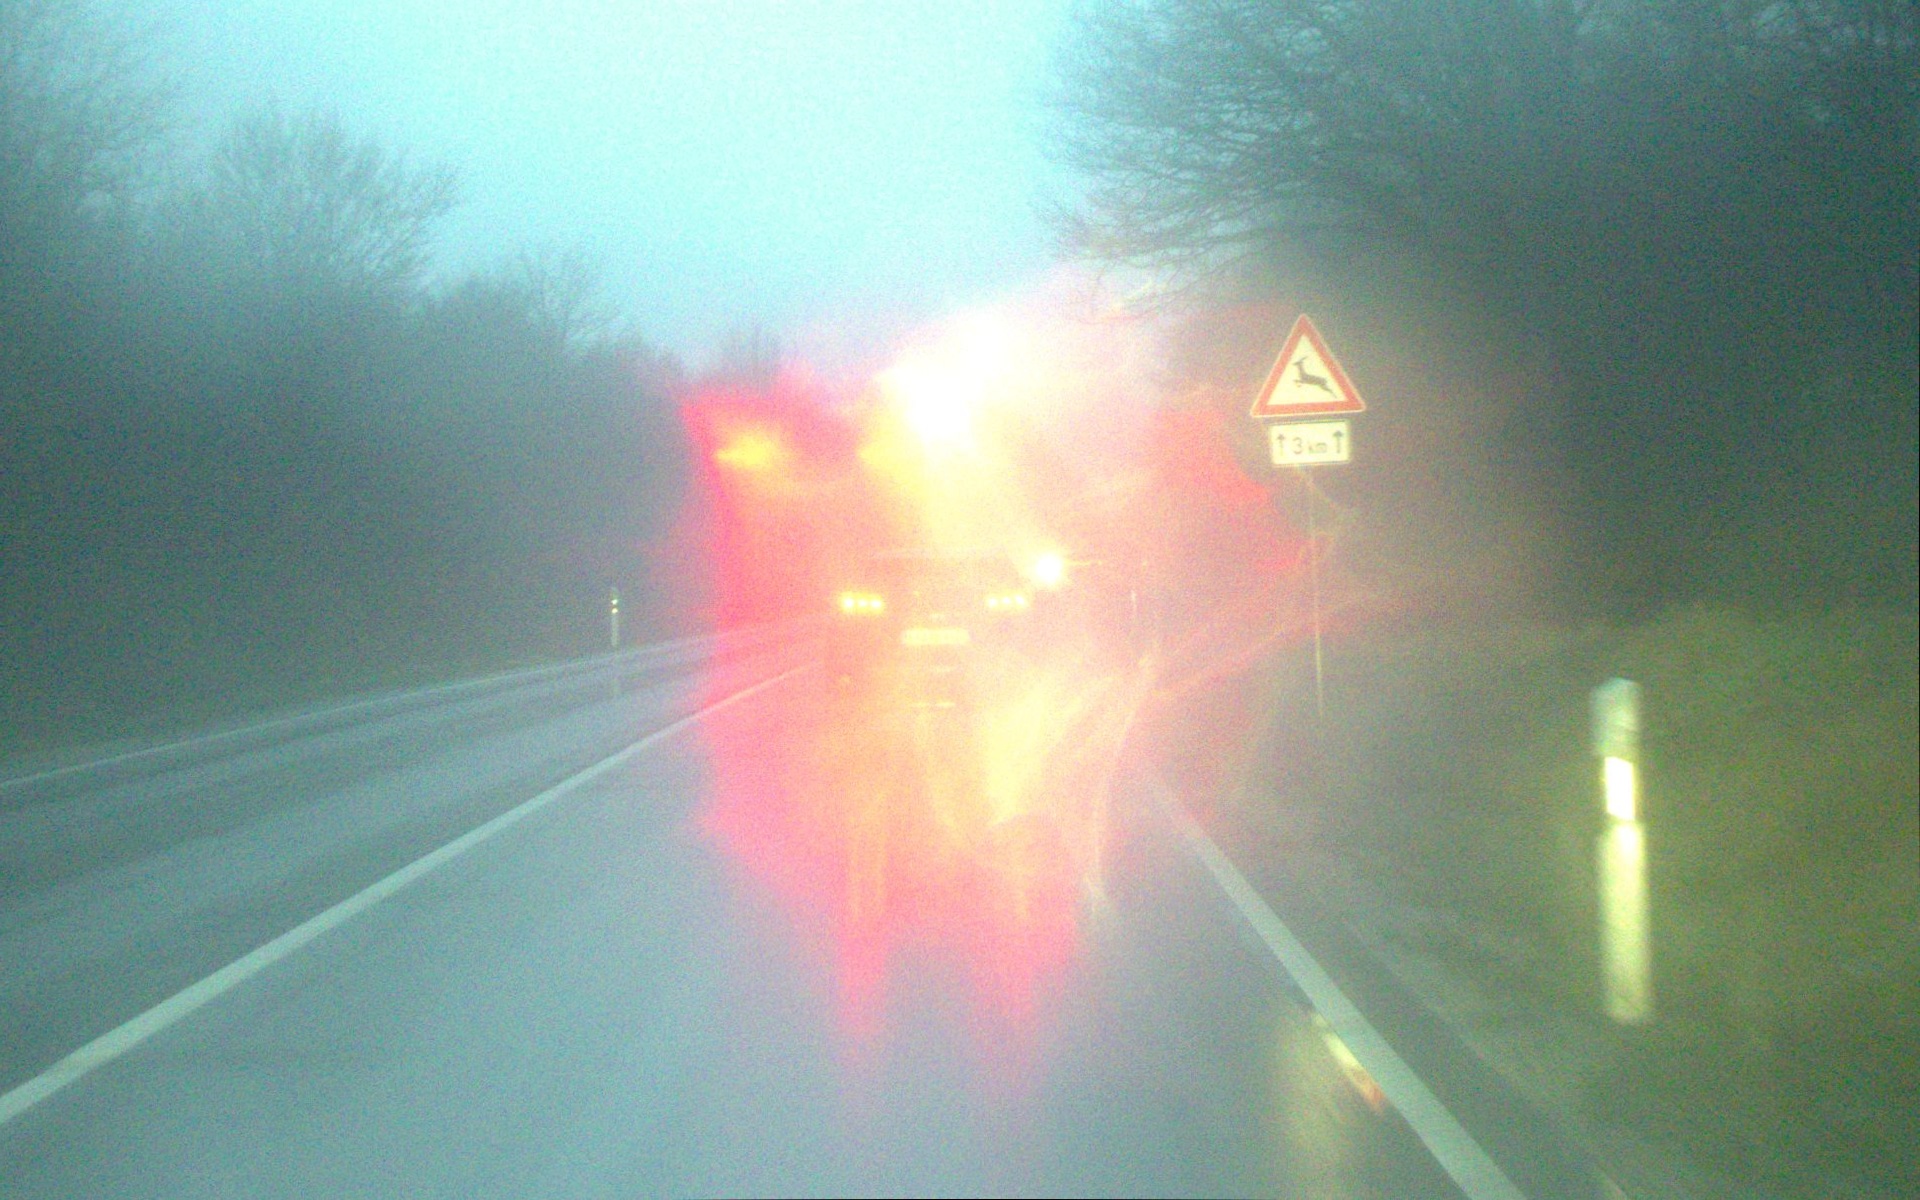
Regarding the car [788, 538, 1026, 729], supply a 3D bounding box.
[{"bbox_3d":[-0.368,0.222,28.369,1.679,1.385,4.098,-2,1,2],"label":"car"}]
